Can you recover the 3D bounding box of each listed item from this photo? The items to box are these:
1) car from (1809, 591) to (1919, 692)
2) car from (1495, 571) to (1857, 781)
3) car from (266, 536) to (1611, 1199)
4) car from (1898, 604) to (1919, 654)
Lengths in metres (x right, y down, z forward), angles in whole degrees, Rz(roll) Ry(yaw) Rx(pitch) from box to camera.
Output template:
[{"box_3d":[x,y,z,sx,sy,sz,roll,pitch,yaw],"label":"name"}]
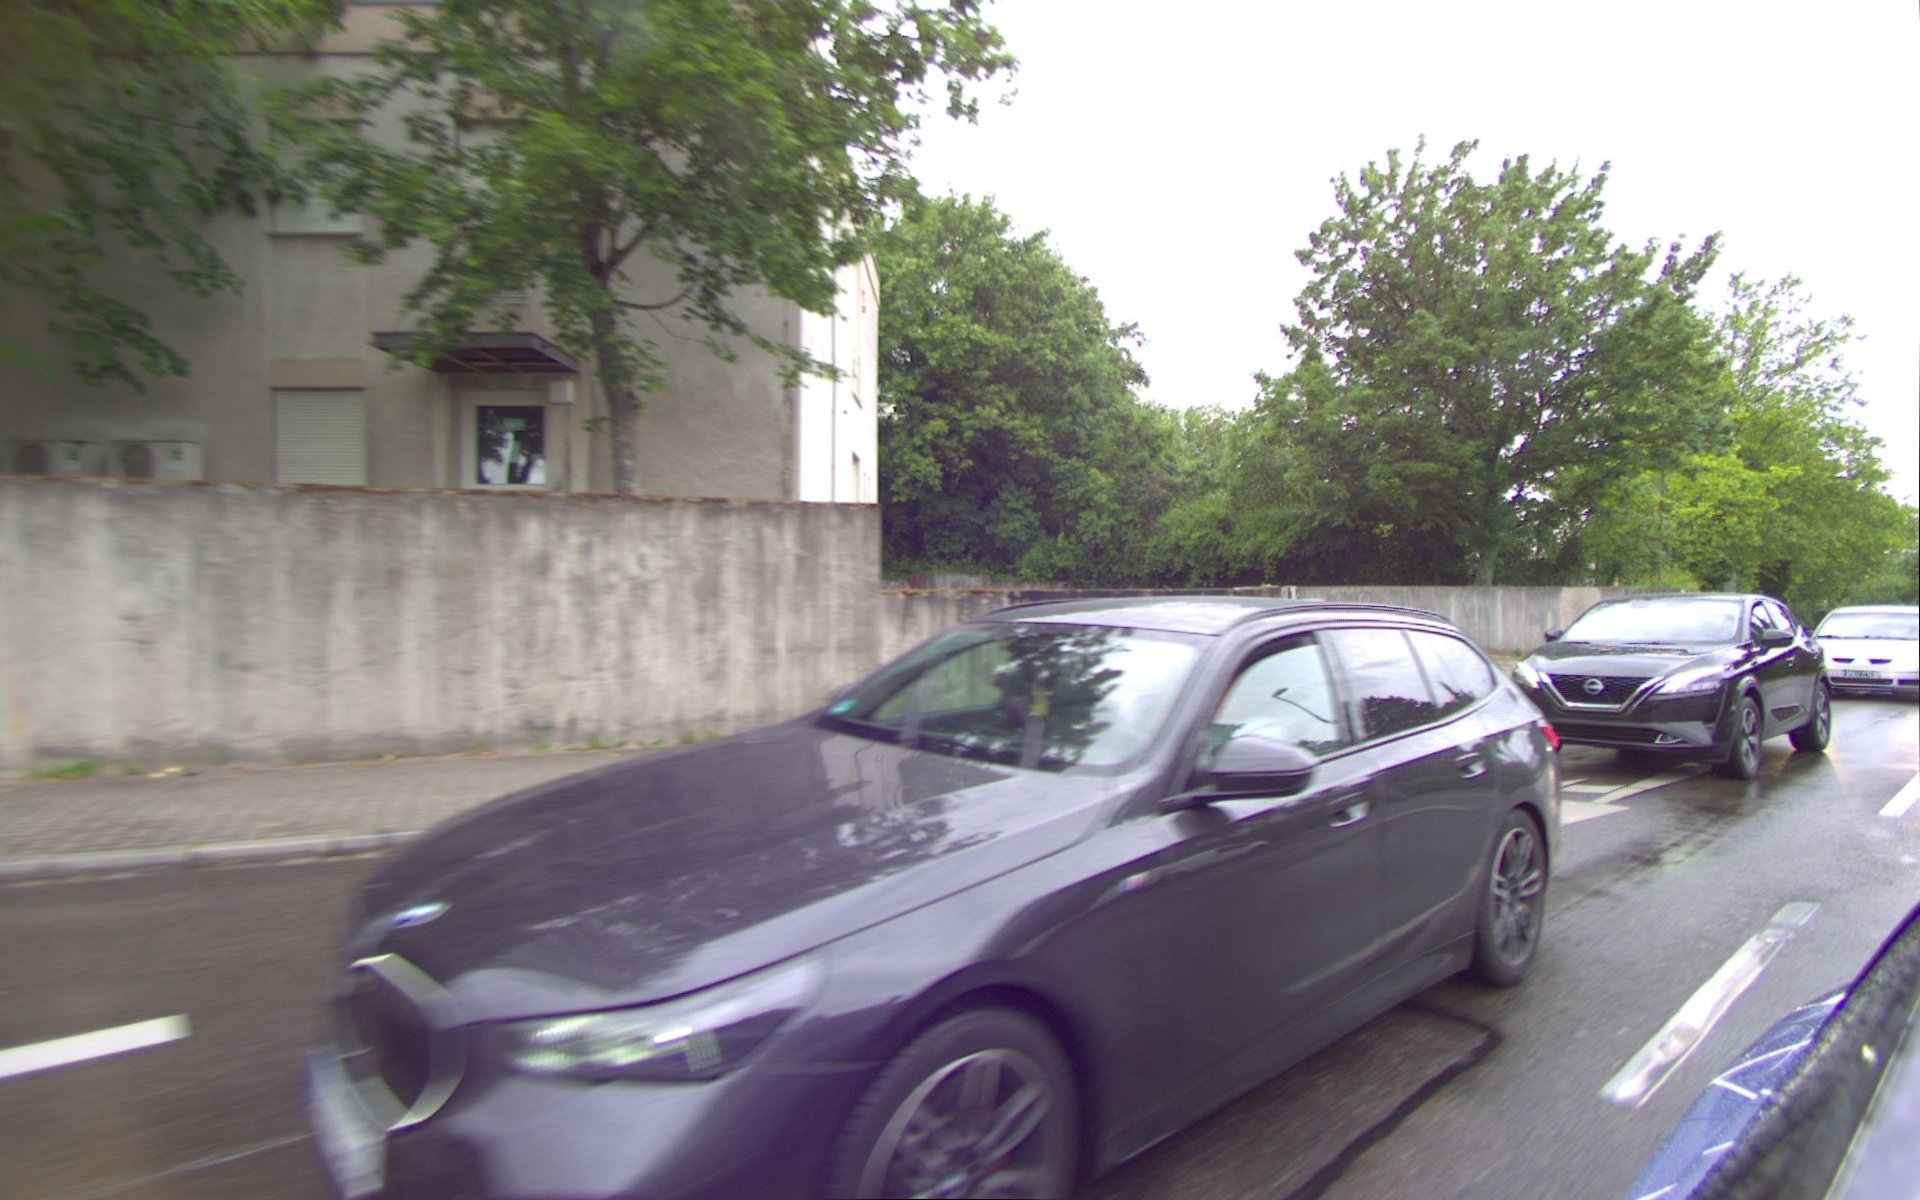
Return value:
[{"box_3d":[15.863,0.678,17.074,3.927,1.524,1.640,2,0,-39],"label":"car"},{"box_3d":[7.074,0.593,9.855,4.176,1.624,1.794,0,-1,-39],"label":"car"},{"box_3d":[0.488,0.639,3.610,4.695,1.477,1.908,0,1,-42],"label":"car"},{"box_3d":[37.202,1.141,38.395,3.931,1.724,2.032,5,-6,-43],"label":"car"}]
